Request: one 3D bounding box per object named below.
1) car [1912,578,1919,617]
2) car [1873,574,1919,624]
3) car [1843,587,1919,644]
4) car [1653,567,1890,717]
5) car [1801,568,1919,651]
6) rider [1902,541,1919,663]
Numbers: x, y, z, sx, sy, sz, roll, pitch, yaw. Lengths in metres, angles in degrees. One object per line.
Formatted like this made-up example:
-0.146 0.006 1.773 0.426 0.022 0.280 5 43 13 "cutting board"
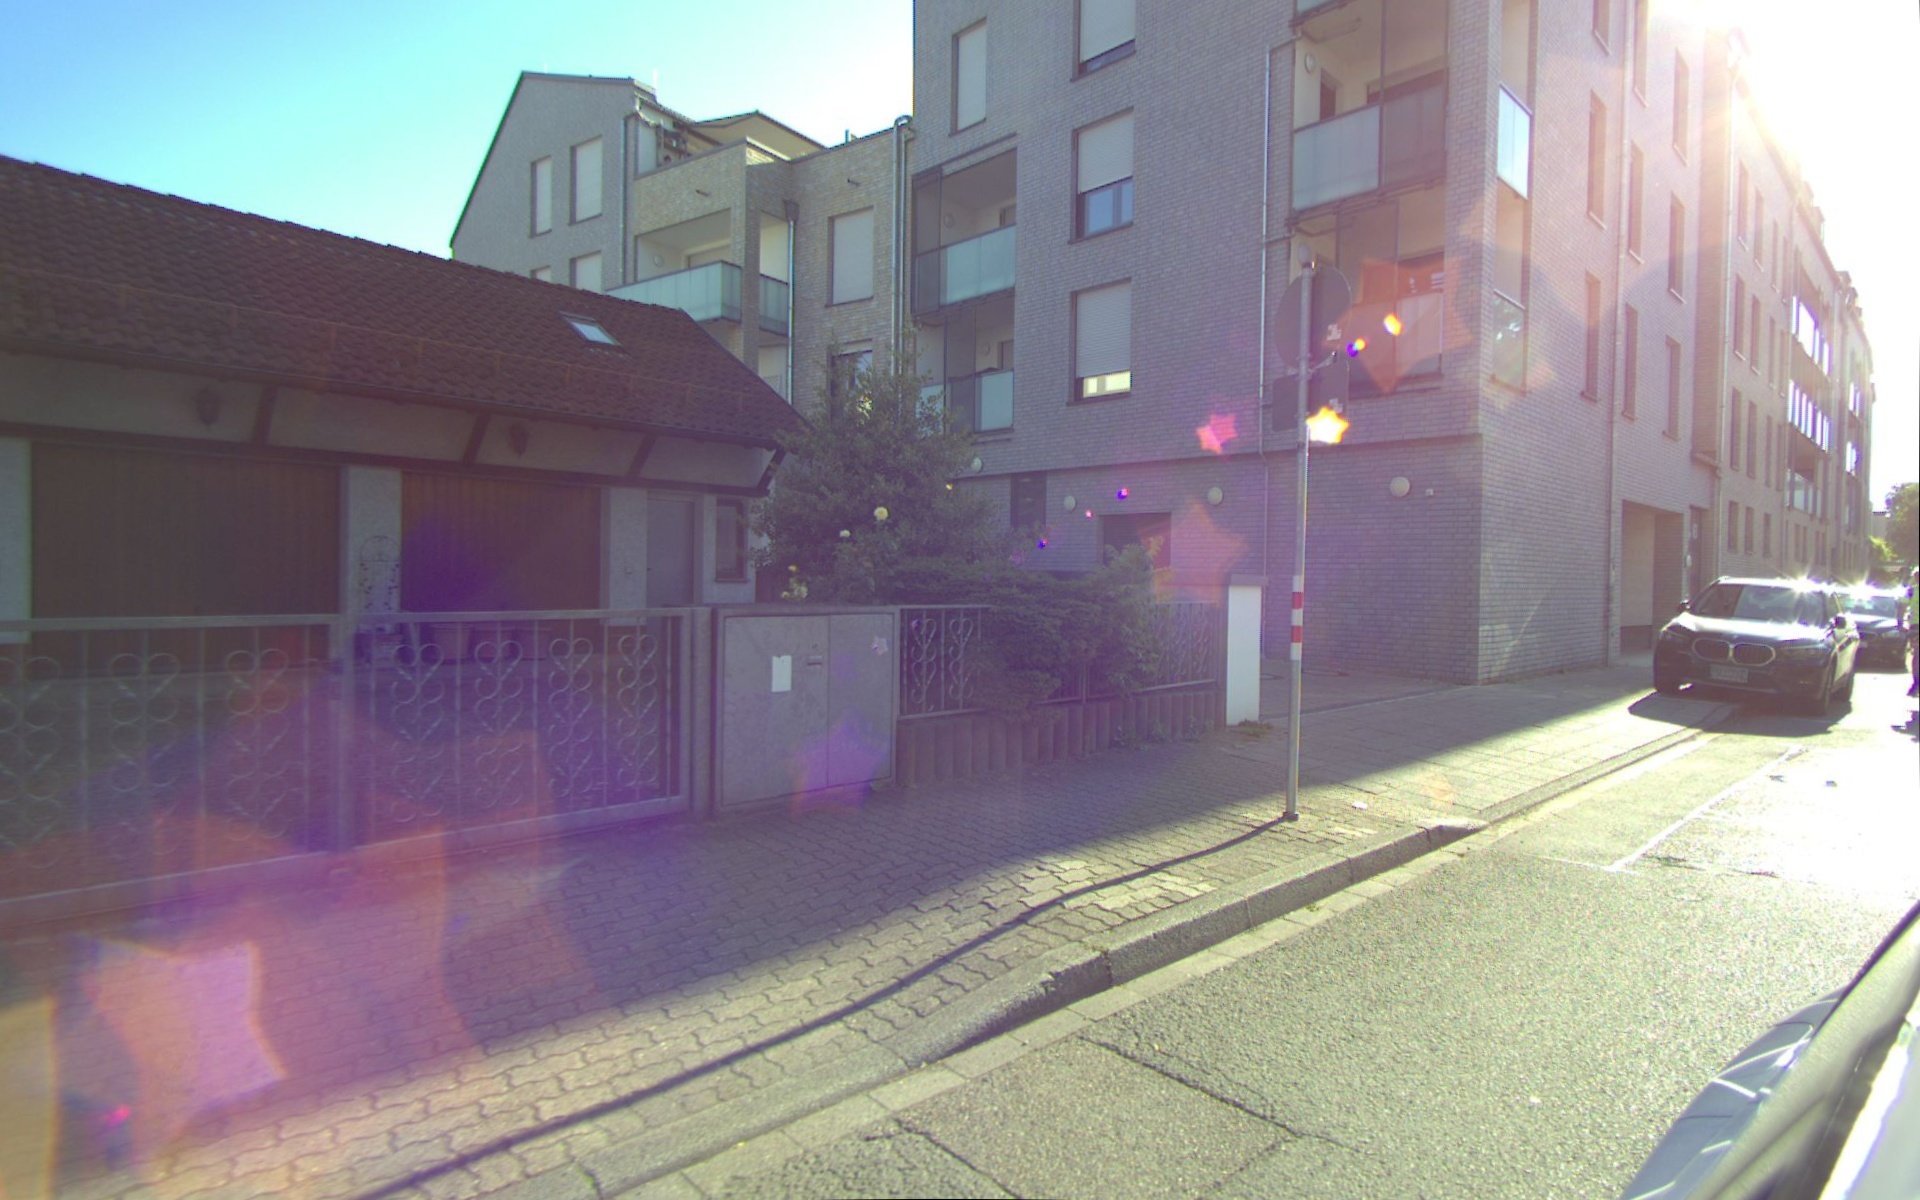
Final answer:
39.483 -0.120 40.588 1.817 1.484 4.202 2 2 44 "car"
34.929 -0.053 36.832 4.689 1.733 1.893 0 1 -40 "car"
27.269 0.404 29.674 4.007 1.421 1.715 -1 5 -45 "car"
11.190 0.442 13.836 4.546 1.656 1.857 -1 4 -43 "car"
20.317 0.166 22.665 1.994 1.674 4.688 1 1 43 "car"
12.882 -0.003 13.296 0.653 1.581 1.066 -3 0 44 "rider"
